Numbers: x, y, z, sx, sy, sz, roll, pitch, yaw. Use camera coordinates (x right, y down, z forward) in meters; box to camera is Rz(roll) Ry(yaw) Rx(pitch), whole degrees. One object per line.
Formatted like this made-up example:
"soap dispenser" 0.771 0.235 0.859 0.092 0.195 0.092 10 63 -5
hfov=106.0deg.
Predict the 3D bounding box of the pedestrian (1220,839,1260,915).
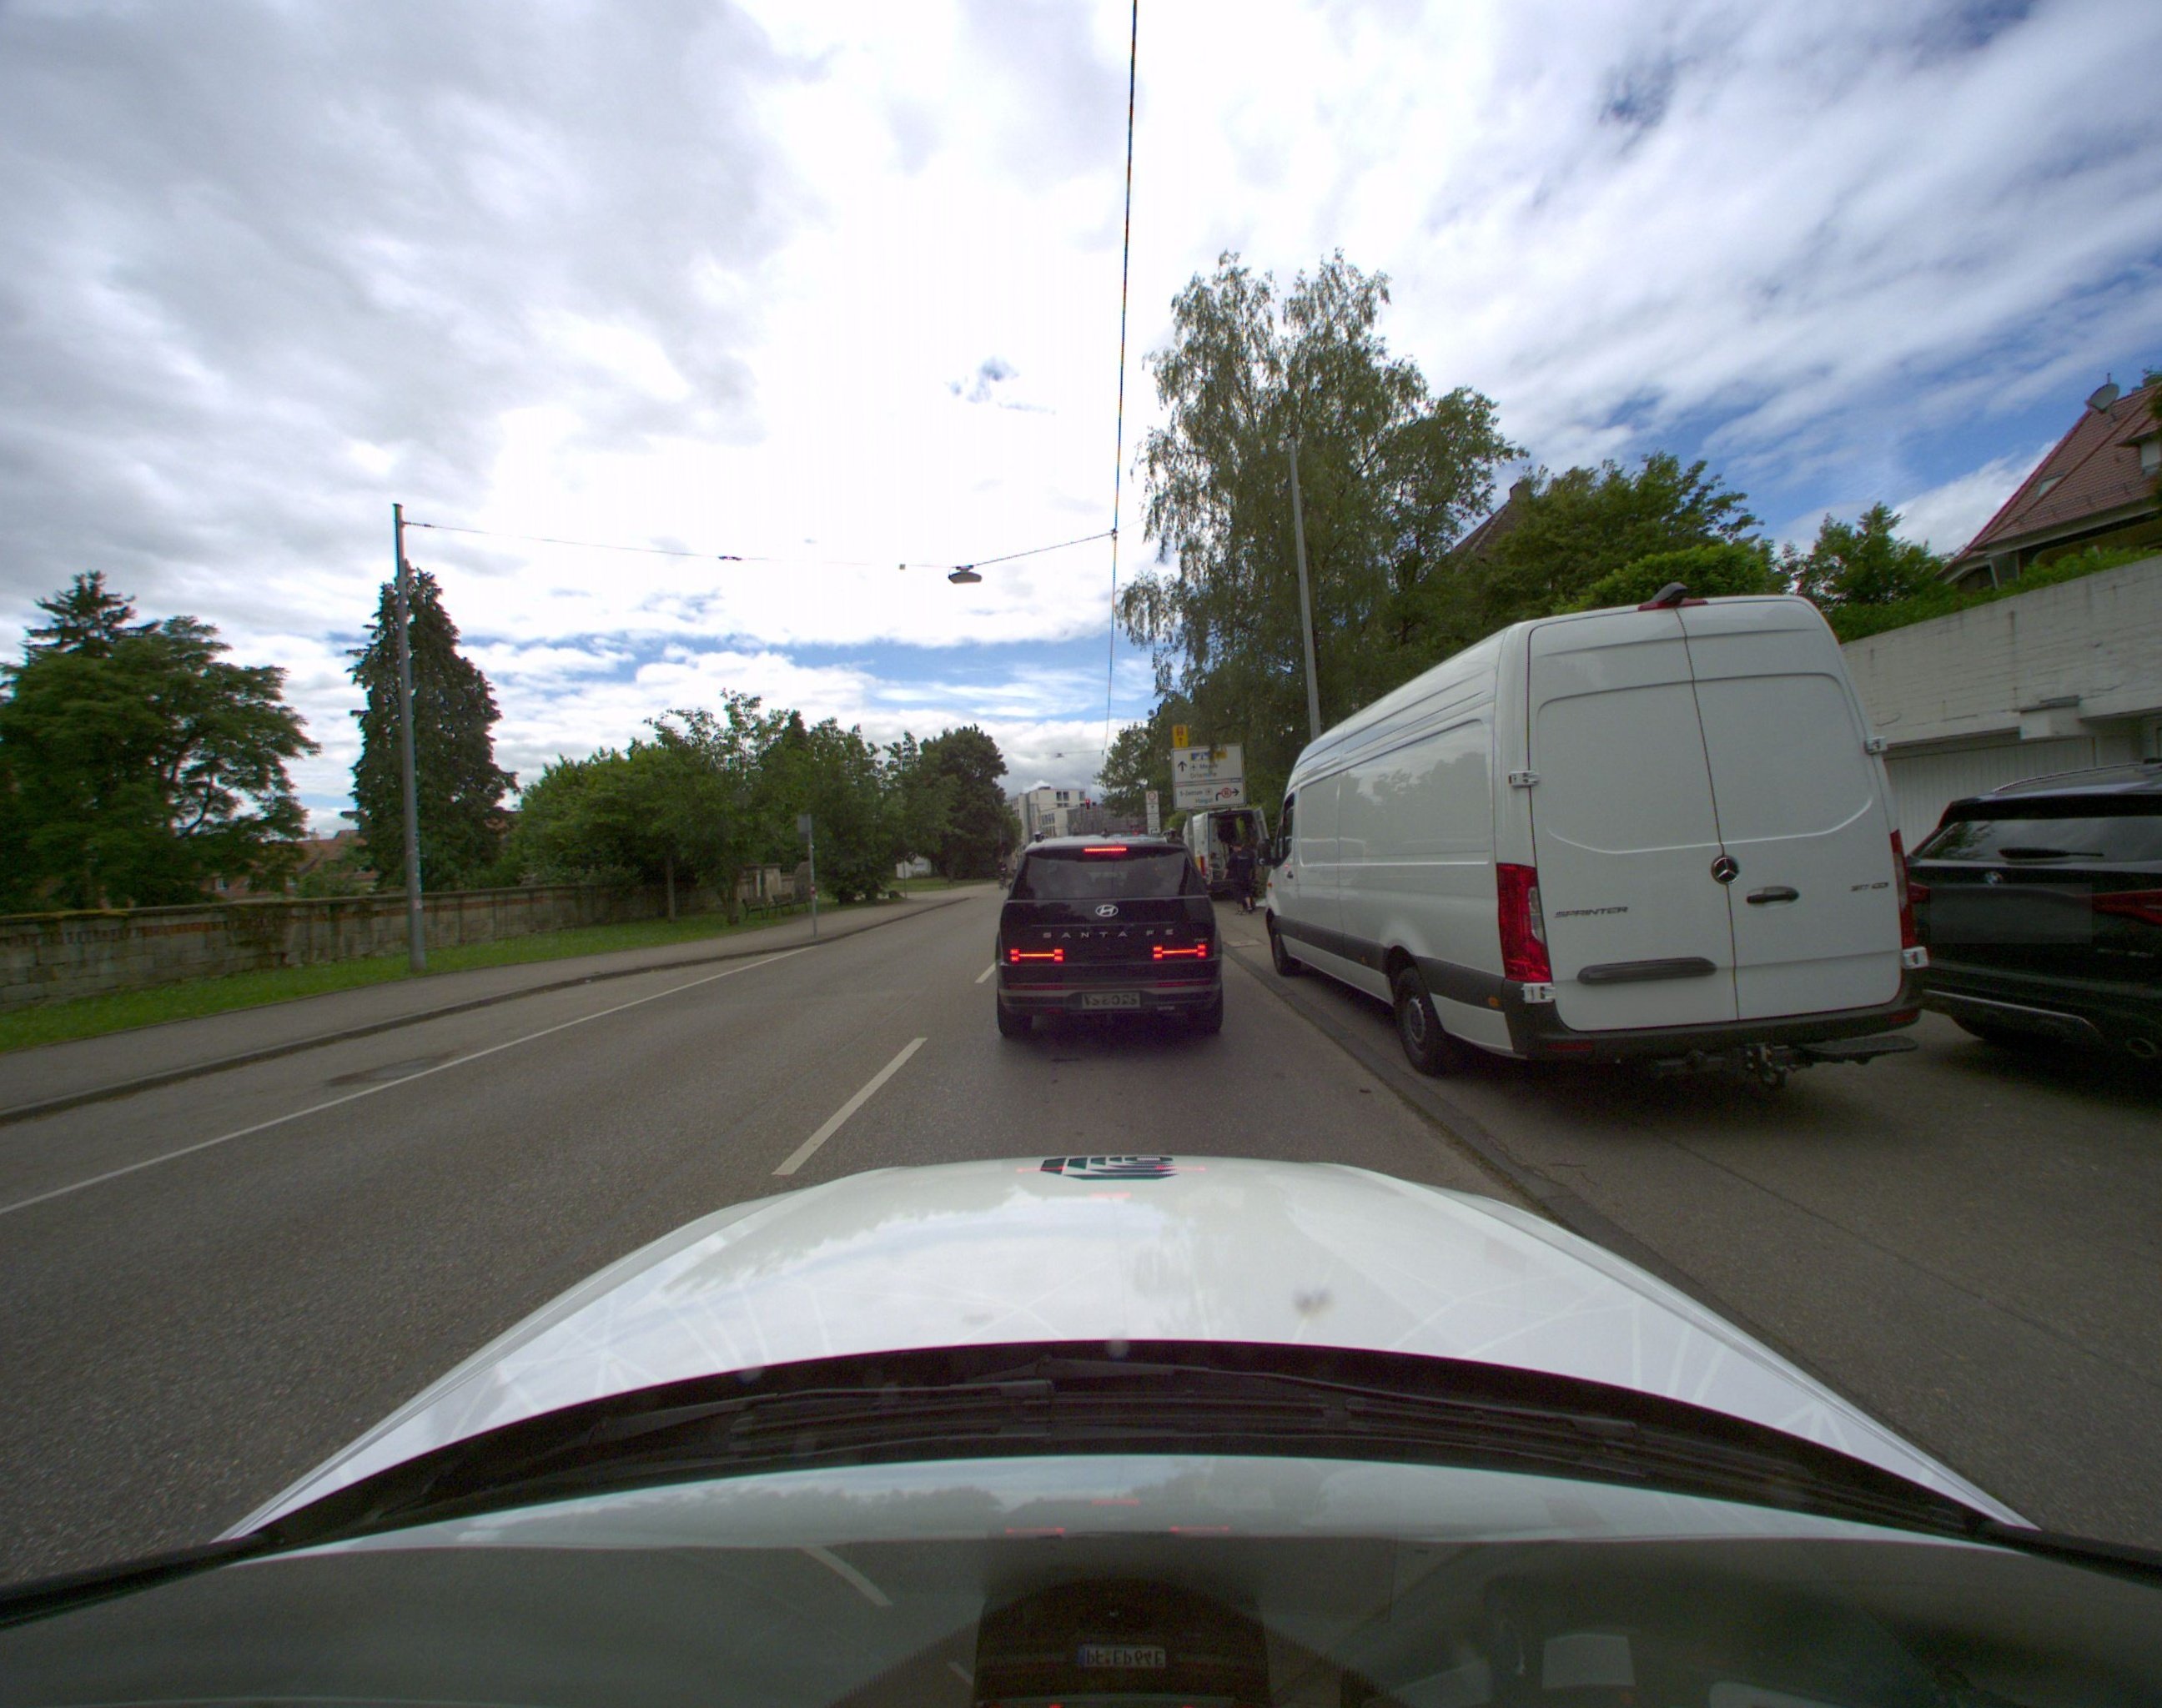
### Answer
"pedestrian" 3.597 0.518 18.524 0.732 1.643 0.803 -4 -1 8

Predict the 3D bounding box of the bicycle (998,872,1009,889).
"bicycle" -4.704 1.599 49.459 0.493 0.964 1.749 0 -1 2

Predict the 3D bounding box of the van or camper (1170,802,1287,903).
"van or camper" 4.333 0.018 25.291 2.332 2.494 6.603 -6 -1 1

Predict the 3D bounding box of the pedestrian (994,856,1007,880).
"pedestrian" -6.581 1.148 66.699 0.826 2.014 1.048 0 -1 4

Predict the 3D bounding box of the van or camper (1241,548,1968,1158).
"van or camper" 3.049 0.018 7.033 1.984 2.625 6.546 -6 -1 2

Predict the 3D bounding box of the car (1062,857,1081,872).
"car" -0.973 1.082 86.810 1.750 1.403 4.416 -5 -1 2

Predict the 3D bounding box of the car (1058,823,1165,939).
"car" 0.604 0.494 16.434 1.890 2.042 3.995 0 -1 2

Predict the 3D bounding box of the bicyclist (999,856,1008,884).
"bicyclist" -4.713 0.979 49.396 0.486 1.684 0.588 0 -1 1

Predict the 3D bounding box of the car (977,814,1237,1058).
"car" 0.249 0.617 7.958 1.890 1.776 3.995 0 -1 2

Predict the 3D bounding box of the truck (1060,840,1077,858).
"truck" -2.940 -1.122 187.531 3.102 3.859 9.607 -3 0 -4

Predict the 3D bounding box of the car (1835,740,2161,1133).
"car" 6.776 0.218 4.028 4.365 1.675 1.696 -4 -1 2

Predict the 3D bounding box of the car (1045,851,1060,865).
"car" -5.052 0.720 144.524 2.328 2.315 4.950 -3 0 -4

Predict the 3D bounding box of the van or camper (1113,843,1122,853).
"van or camper" 7.735 -1.205 172.562 1.791 1.999 3.821 0 -1 -2

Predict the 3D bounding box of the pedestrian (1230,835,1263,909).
"pedestrian" 3.937 0.419 19.437 0.745 1.721 0.794 0 -1 9

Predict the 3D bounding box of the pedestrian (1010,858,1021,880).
"pedestrian" -5.372 1.231 67.032 0.764 1.748 0.905 -2 -1 2
